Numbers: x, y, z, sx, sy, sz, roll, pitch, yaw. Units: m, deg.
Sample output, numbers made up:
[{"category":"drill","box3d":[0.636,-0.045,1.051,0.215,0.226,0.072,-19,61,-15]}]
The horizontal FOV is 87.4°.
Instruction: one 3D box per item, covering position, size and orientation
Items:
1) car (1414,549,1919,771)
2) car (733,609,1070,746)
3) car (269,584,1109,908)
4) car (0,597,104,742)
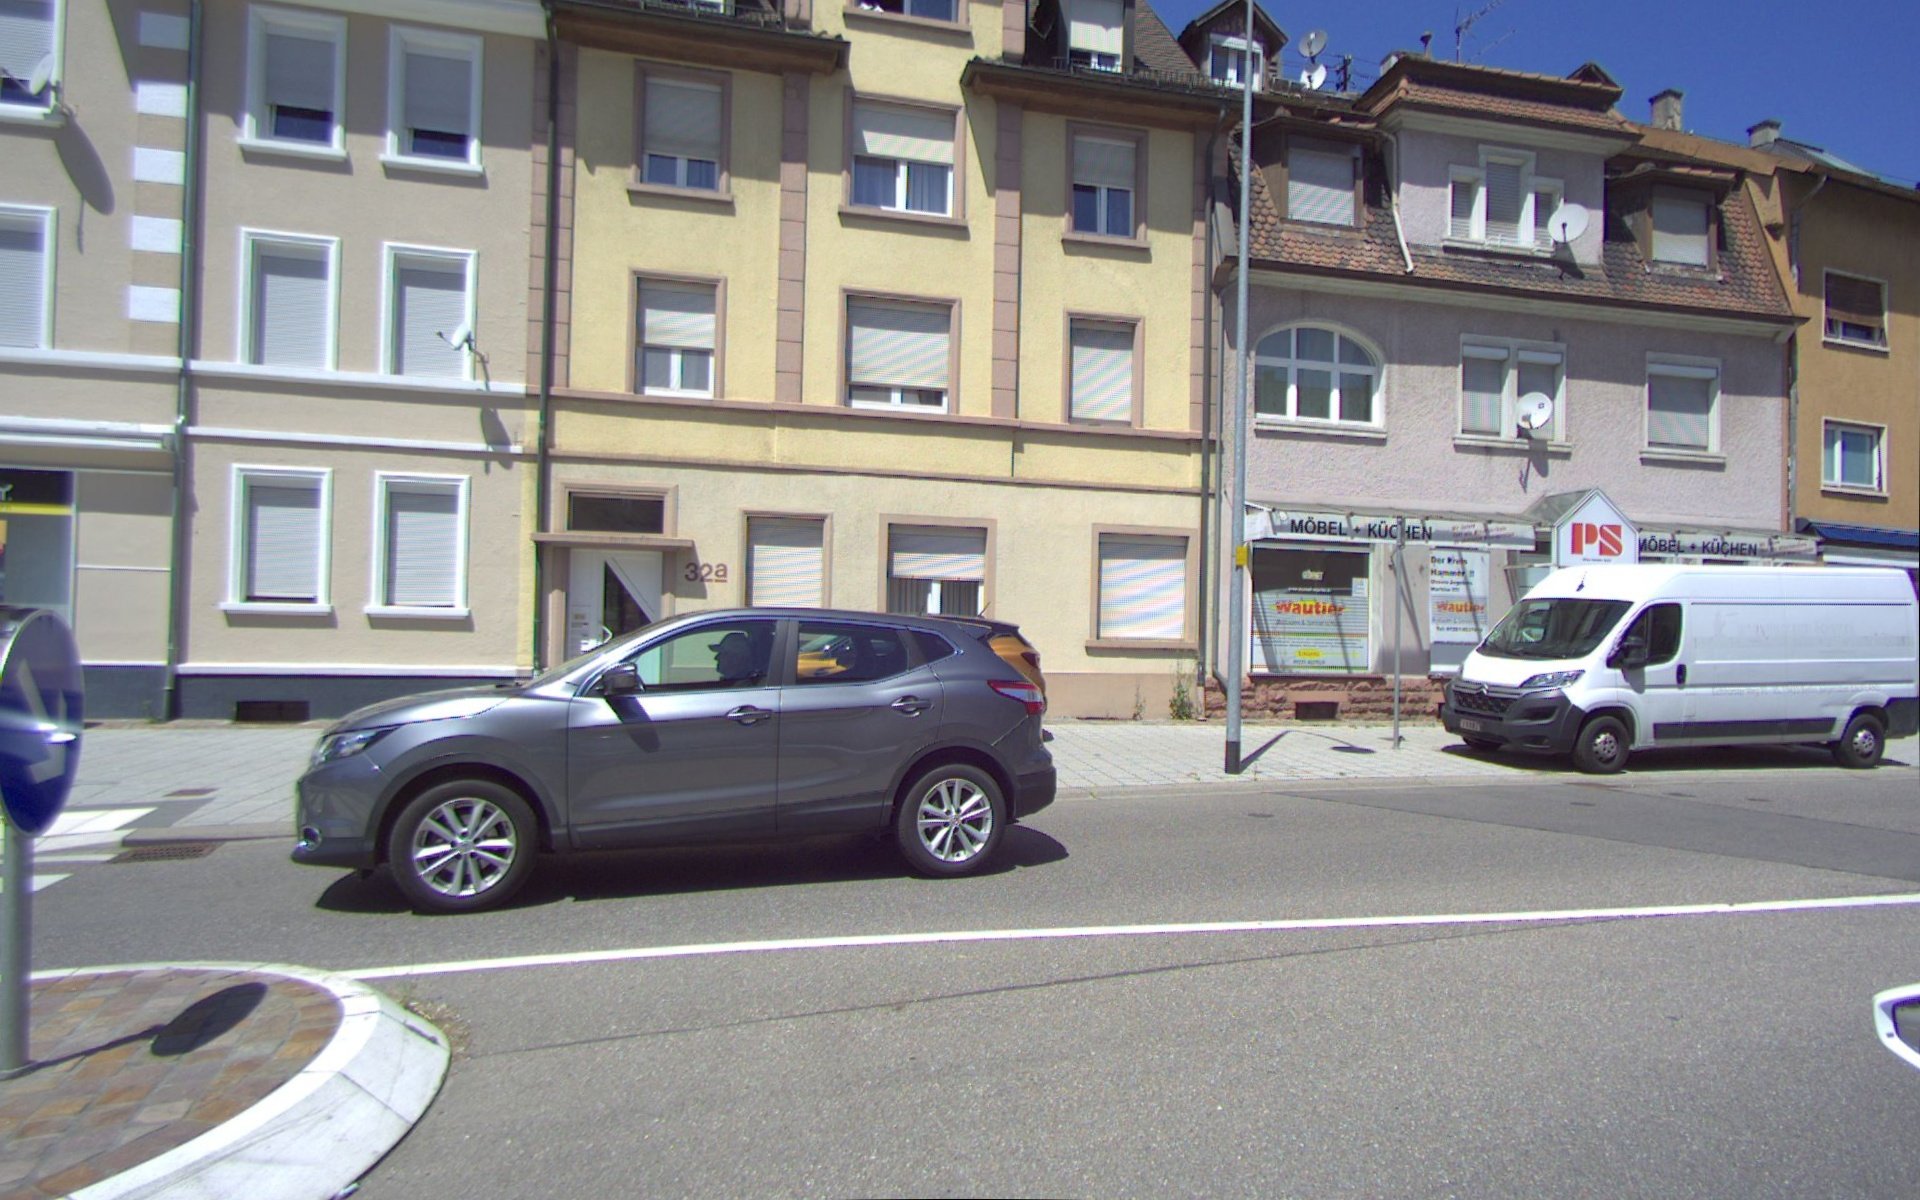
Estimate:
[{"category":"car","box3d":[9.199,0.739,12.964,6.013,2.482,2.120,1,0,-14]},{"category":"car","box3d":[-0.809,0.945,12.871,4.044,1.562,1.796,1,0,-12]},{"category":"car","box3d":[-1.425,0.817,6.256,4.322,1.508,1.795,2,-4,-19]},{"category":"car","box3d":[-12.594,0.689,10.778,4.860,1.523,1.796,1,-1,-12]}]
